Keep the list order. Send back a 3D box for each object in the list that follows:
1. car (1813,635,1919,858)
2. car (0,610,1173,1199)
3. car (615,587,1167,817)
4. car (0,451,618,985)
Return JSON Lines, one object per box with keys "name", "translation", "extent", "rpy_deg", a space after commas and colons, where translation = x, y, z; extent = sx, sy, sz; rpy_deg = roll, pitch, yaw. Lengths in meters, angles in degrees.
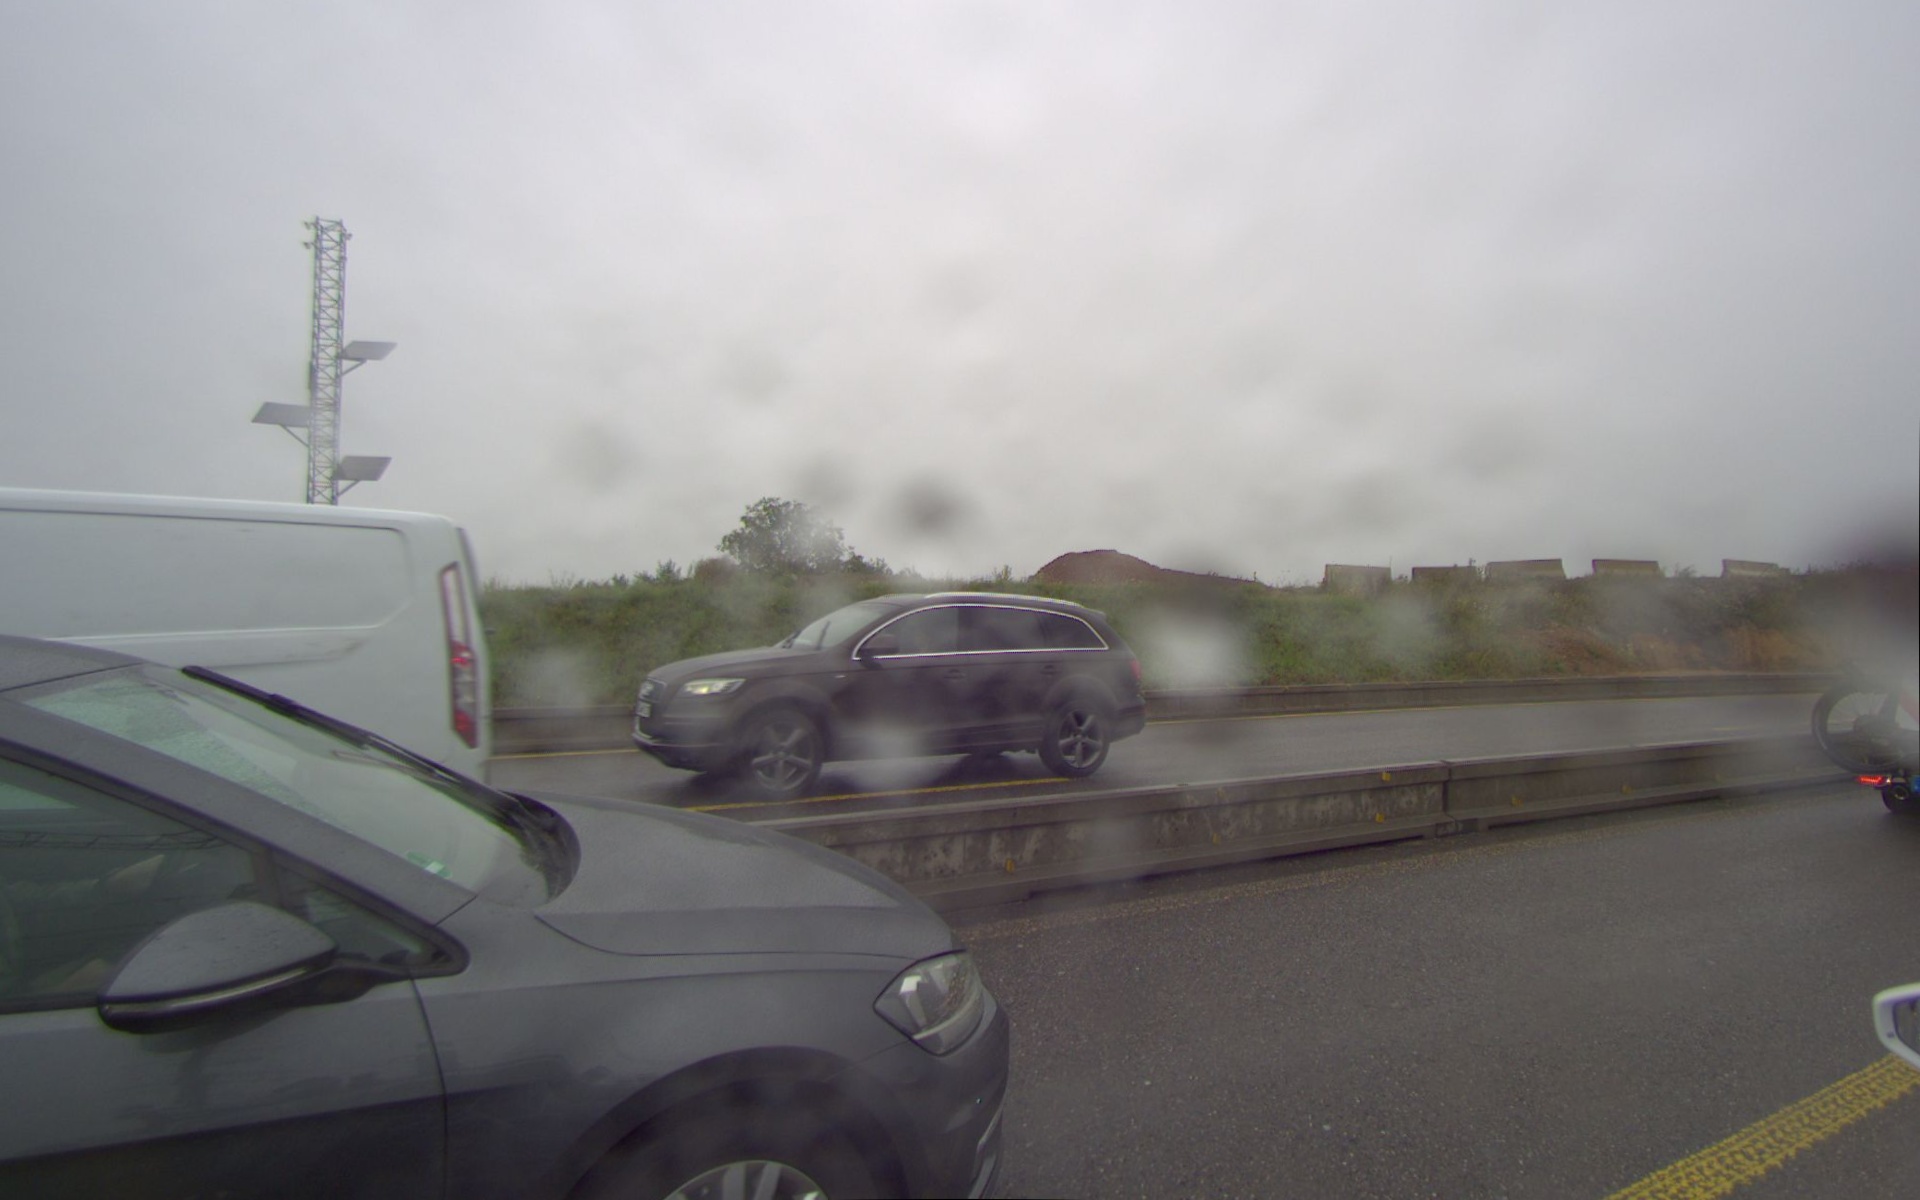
{"name": "car", "translation": [9.170, 1.028, 8.065], "extent": [5.560, 1.482, 1.727], "rpy_deg": [0, 0, -29]}
{"name": "car", "translation": [-1.698, 0.748, 1.824], "extent": [4.033, 1.441, 1.641], "rpy_deg": [2, -1, -31]}
{"name": "car", "translation": [-0.552, 0.788, 9.597], "extent": [4.911, 1.709, 1.984], "rpy_deg": [1, 0, -30]}
{"name": "car", "translation": [-4.311, 0.442, 4.567], "extent": [4.911, 2.026, 1.984], "rpy_deg": [2, -1, -30]}
